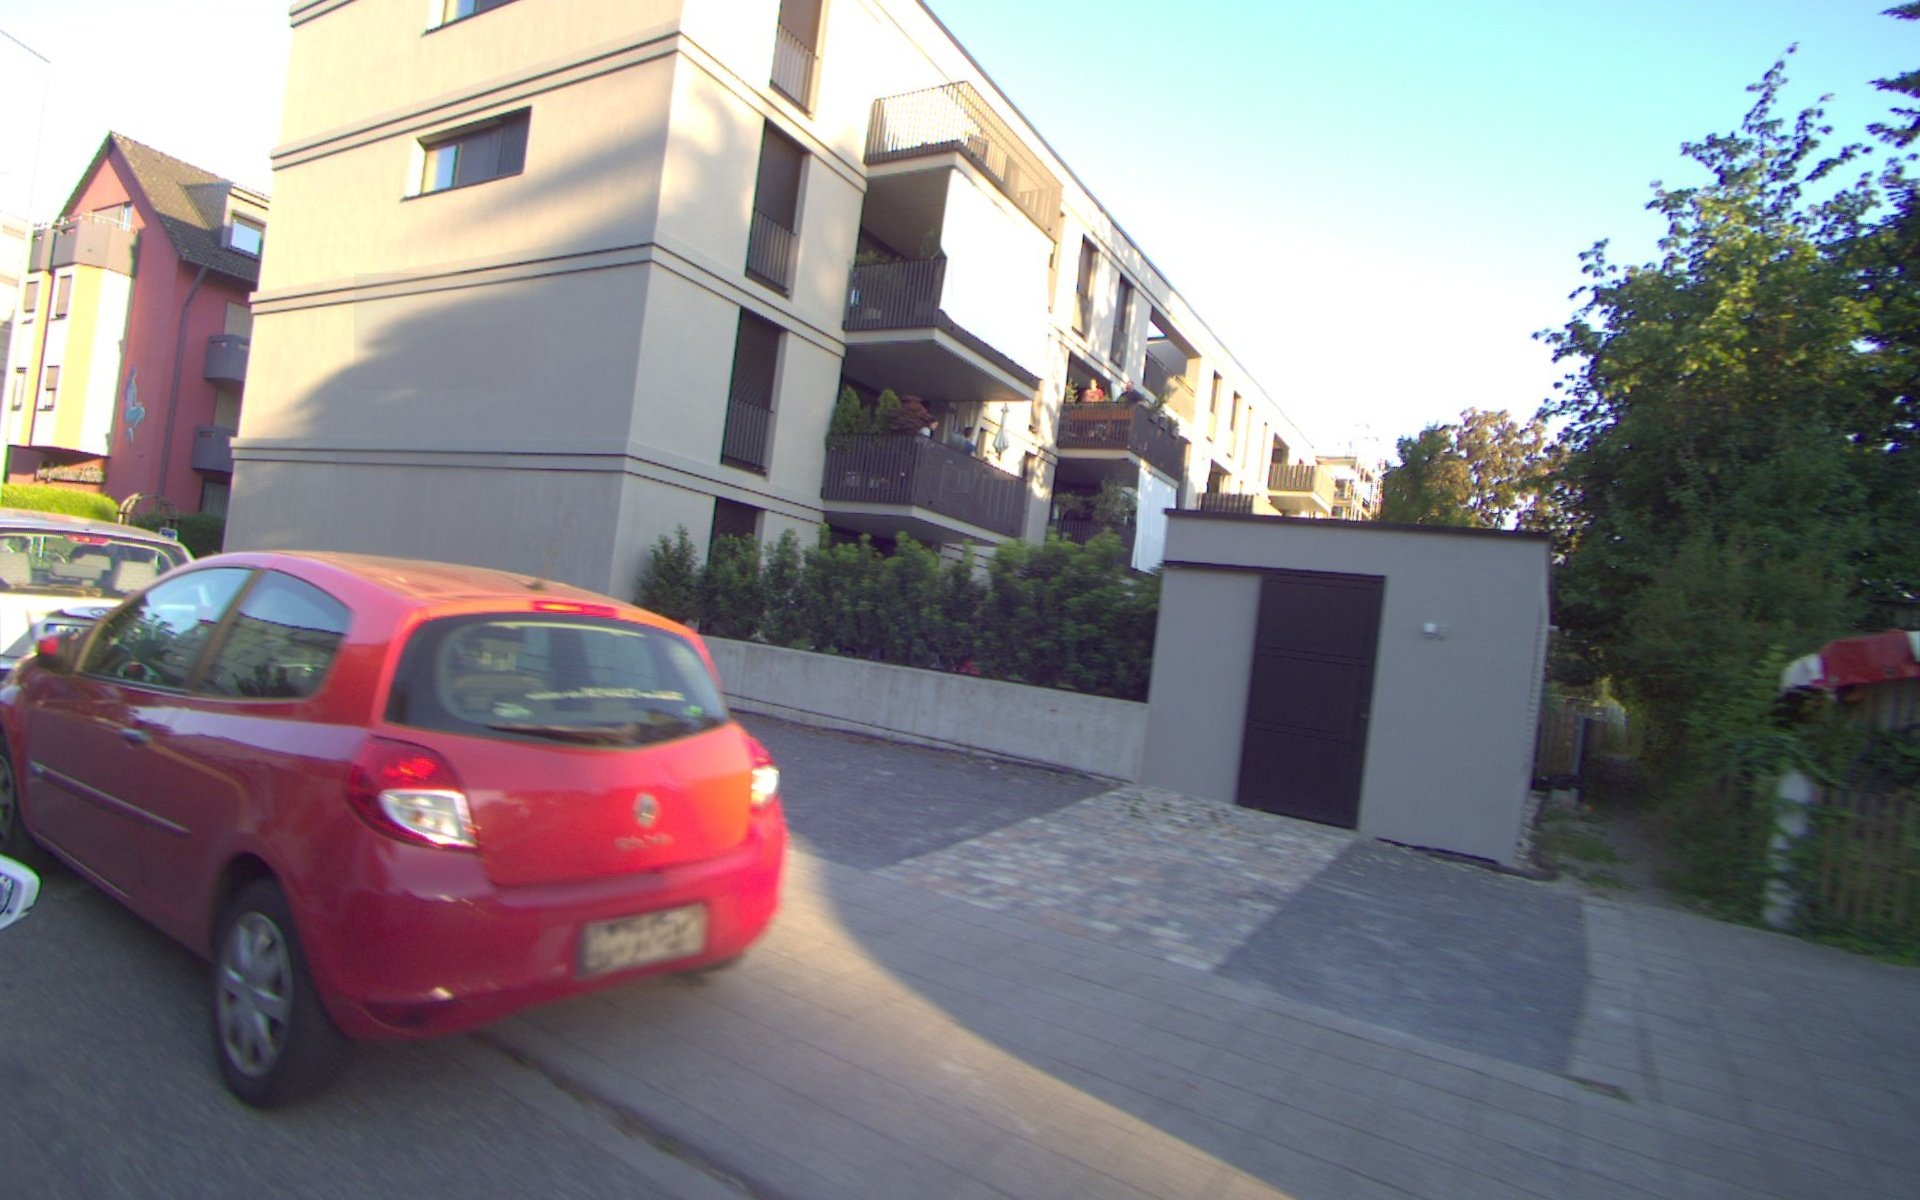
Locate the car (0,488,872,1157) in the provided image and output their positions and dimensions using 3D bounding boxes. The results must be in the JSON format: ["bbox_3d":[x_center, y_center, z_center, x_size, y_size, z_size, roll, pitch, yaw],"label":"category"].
[{"bbox_3d":[-2.419,0.483,4.091,3.698,1.486,1.743,6,-2,33],"label":"car"}]

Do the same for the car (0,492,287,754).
[{"bbox_3d":[-6.783,0.020,7.139,3.779,1.486,1.801,6,-2,31],"label":"car"}]

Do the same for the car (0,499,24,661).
[{"bbox_3d":[-10.903,-0.425,9.675,3.929,1.486,1.618,6,-2,30],"label":"car"}]
